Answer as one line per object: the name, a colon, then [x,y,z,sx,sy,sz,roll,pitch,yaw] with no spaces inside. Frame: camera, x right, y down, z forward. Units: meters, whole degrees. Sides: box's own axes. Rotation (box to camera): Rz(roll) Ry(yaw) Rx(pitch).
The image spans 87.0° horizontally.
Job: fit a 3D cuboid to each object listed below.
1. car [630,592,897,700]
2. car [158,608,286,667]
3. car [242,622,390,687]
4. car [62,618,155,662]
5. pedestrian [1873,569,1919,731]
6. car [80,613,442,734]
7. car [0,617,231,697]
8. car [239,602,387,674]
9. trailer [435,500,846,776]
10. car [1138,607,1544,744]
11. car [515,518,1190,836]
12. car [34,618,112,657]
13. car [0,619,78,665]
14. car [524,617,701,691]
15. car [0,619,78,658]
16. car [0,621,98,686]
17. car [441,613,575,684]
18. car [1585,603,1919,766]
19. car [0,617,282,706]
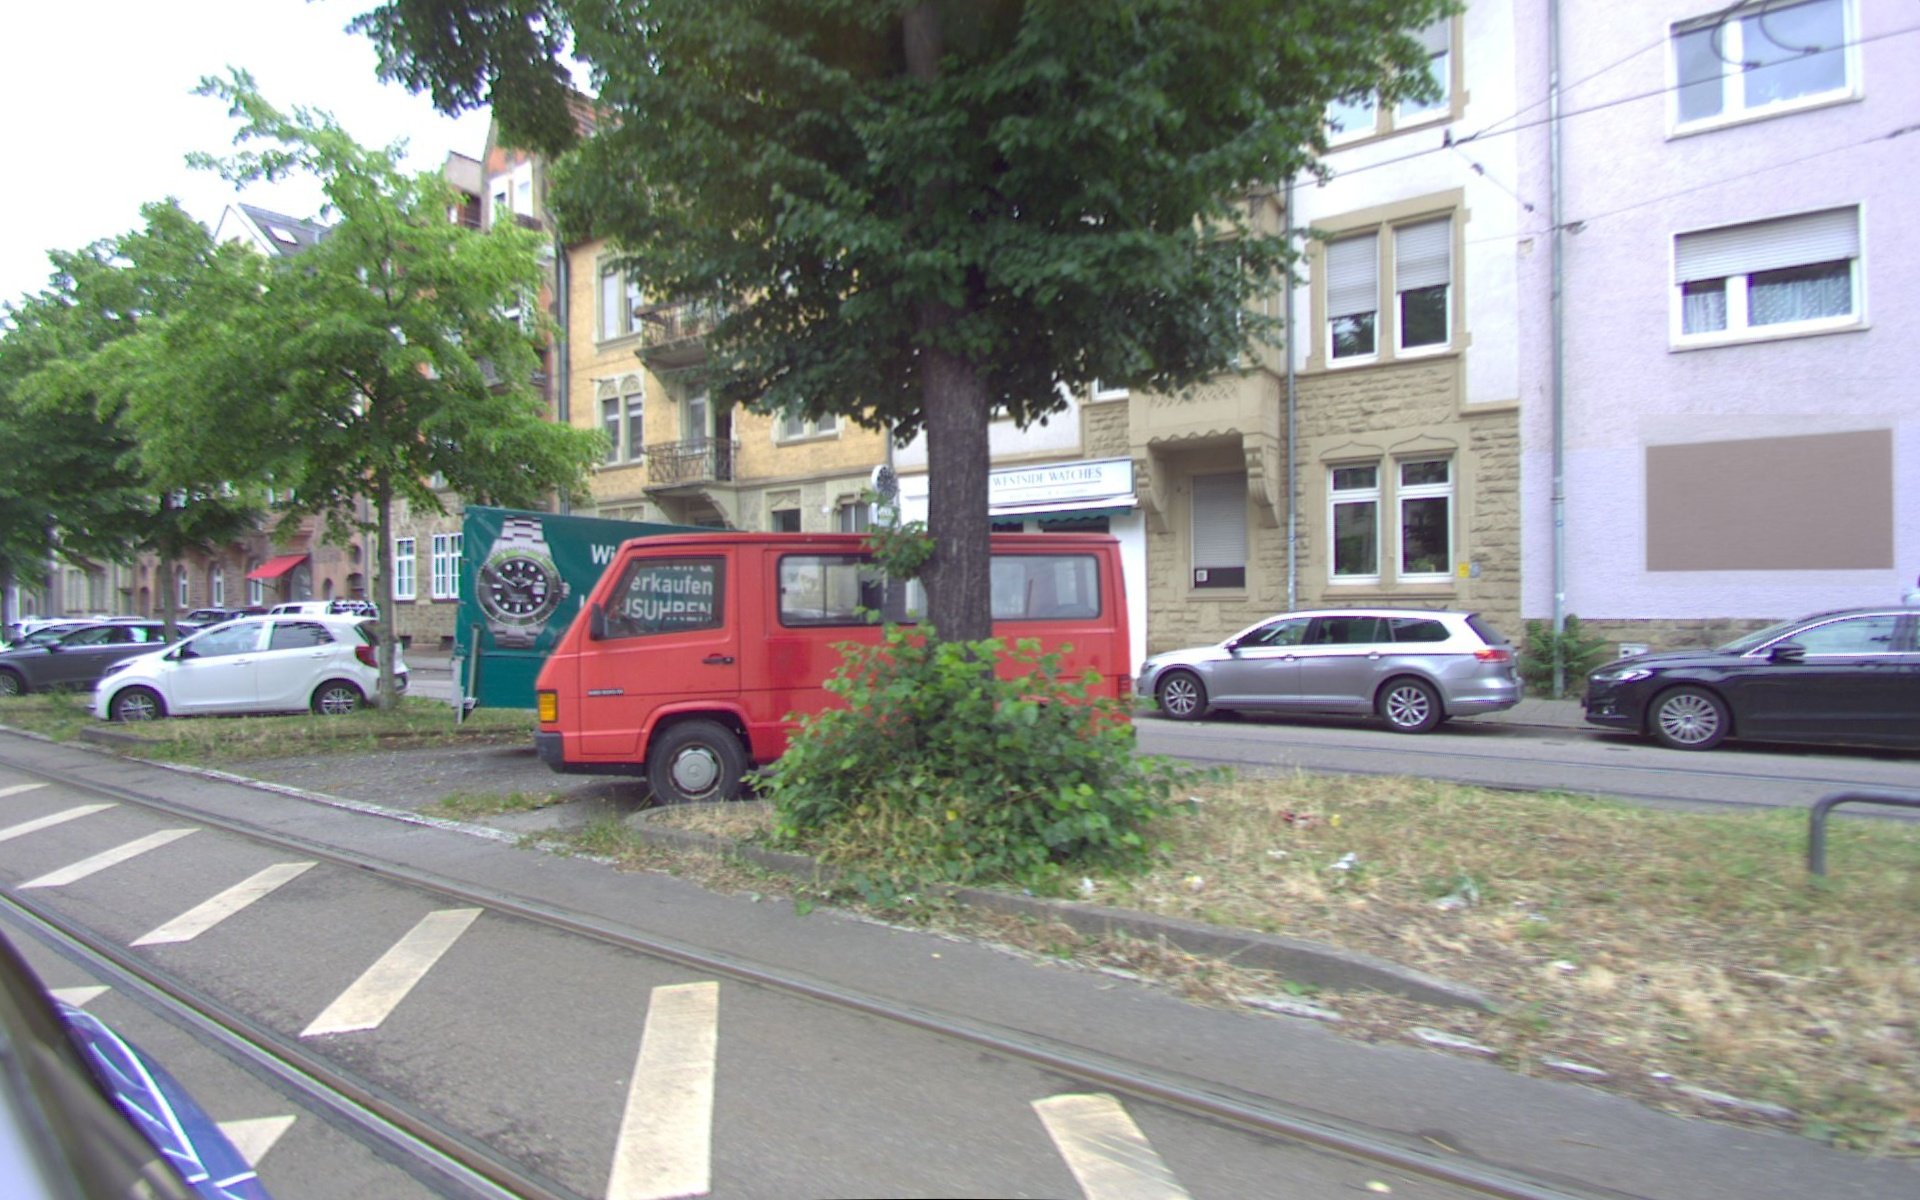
car: [-2.948,0.611,14.893,3.874,1.393,1.630,-1,0,35]
car: [-24.116,1.176,33.003,5.105,1.795,1.798,-1,0,35]
car: [-15.452,1.252,24.230,3.874,1.393,1.630,-1,0,35]
car: [-34.037,1.572,40.439,4.543,1.639,1.726,-1,0,35]
pedestrian: [10.963,0.548,11.377,0.898,1.780,0.791,-1,-1,34]
car: [-9.540,0.951,14.132,3.799,1.474,1.694,-1,-1,-13]
car: [-17.678,1.107,20.282,4.609,1.446,1.904,-1,-1,-15]
car: [-19.142,1.069,29.871,5.081,1.967,1.865,-1,0,35]
trailer: [-3.173,0.323,10.228,3.607,2.362,1.937,-1,-1,-22]
car: [4.698,0.854,12.799,4.558,1.454,1.621,-1,-1,34]
car: [-0.812,0.472,7.933,4.687,1.989,1.965,-1,-1,-16]
car: [-37.942,1.556,43.264,3.713,1.571,1.648,-1,0,35]
car: [-33.106,1.463,36.049,3.874,1.515,1.630,-1,0,35]
car: [-7.611,1.137,22.071,3.913,1.454,1.621,-1,-1,34]
car: [-41.940,1.710,46.054,4.310,1.641,1.754,-1,0,35]
car: [-23.821,1.314,24.552,4.048,1.495,1.802,-1,0,-14]
car: [-10.831,1.123,24.227,2.943,1.562,1.621,-1,-1,34]
car: [8.925,0.766,9.879,4.750,1.454,1.621,-1,-1,34]
car: [-15.105,1.071,18.345,4.268,1.446,1.904,-1,-1,-13]
